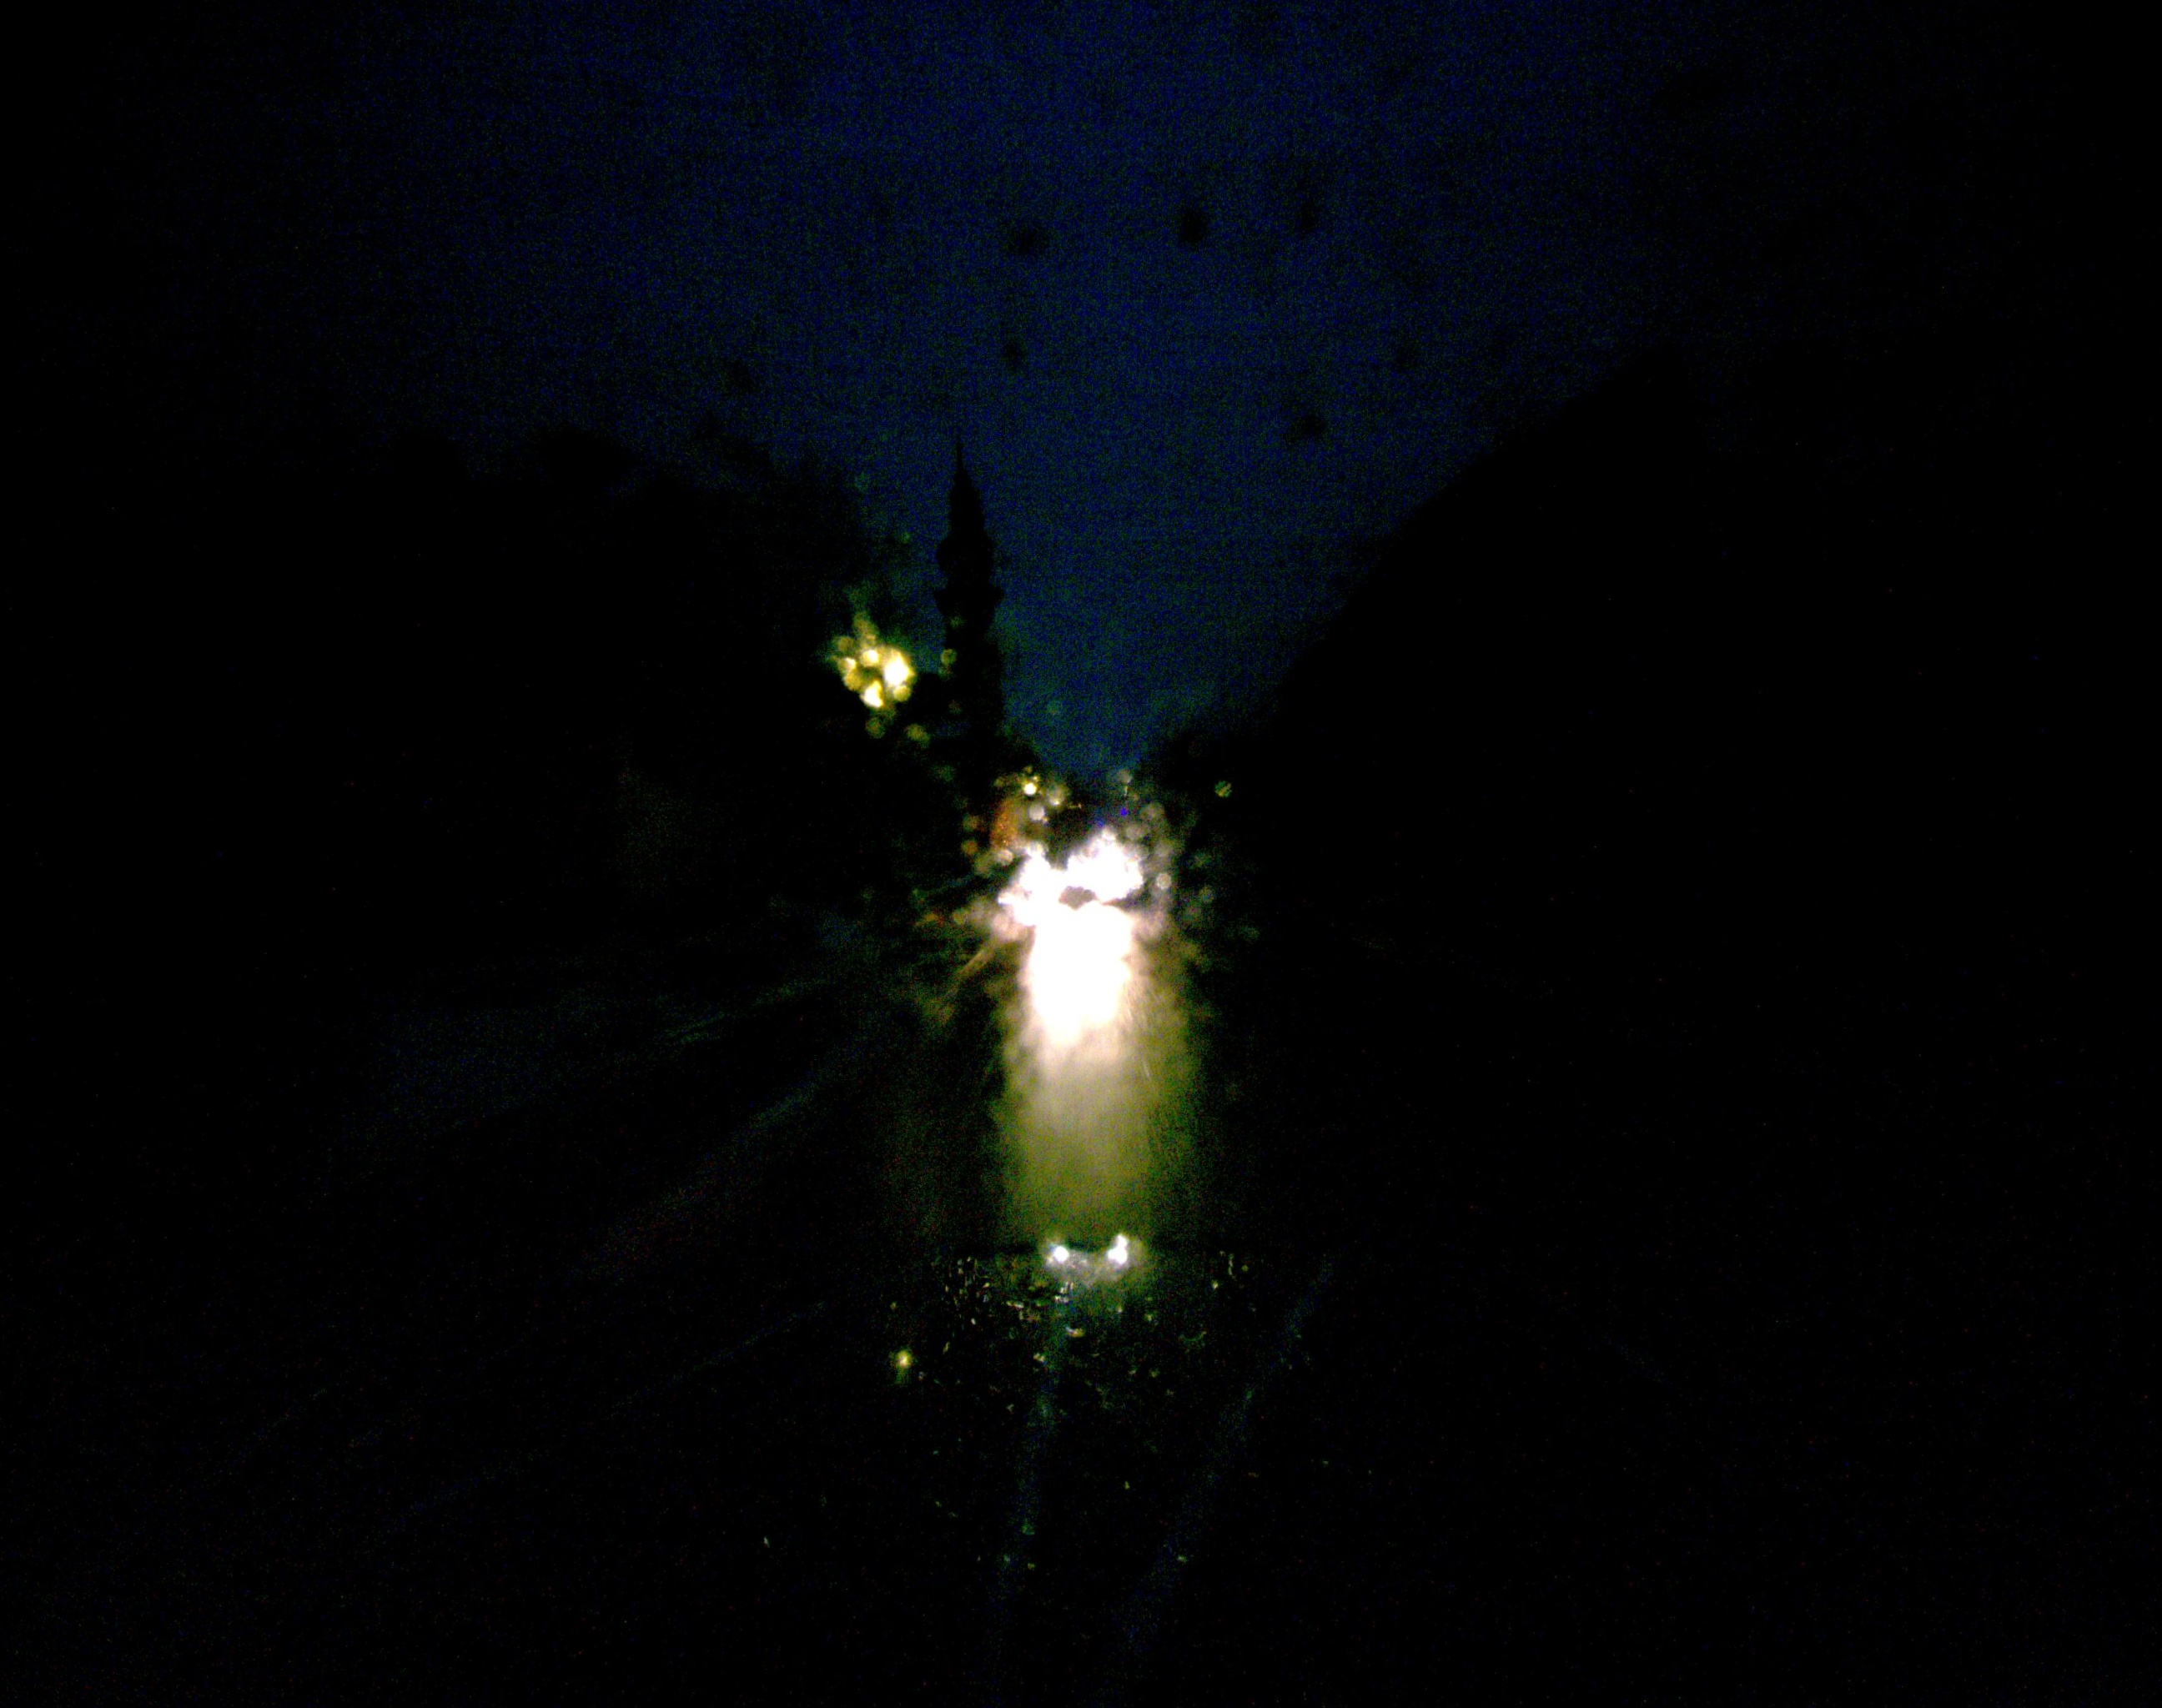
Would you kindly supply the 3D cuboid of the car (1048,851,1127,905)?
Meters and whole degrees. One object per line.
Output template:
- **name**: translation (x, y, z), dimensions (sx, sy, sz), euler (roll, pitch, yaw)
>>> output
- **car**: translation (0.072, 0.619, 21.914), dimensions (1.999, 1.373, 4.933), euler (-1, 0, -2)

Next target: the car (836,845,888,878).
- **car**: translation (-11.093, 0.338, 38.320), dimensions (1.758, 1.405, 4.071), euler (-2, 3, -27)

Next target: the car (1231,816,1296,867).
- **car**: translation (8.501, -0.614, 35.744), dimensions (1.998, 2.026, 4.080), euler (-6, 2, 2)
